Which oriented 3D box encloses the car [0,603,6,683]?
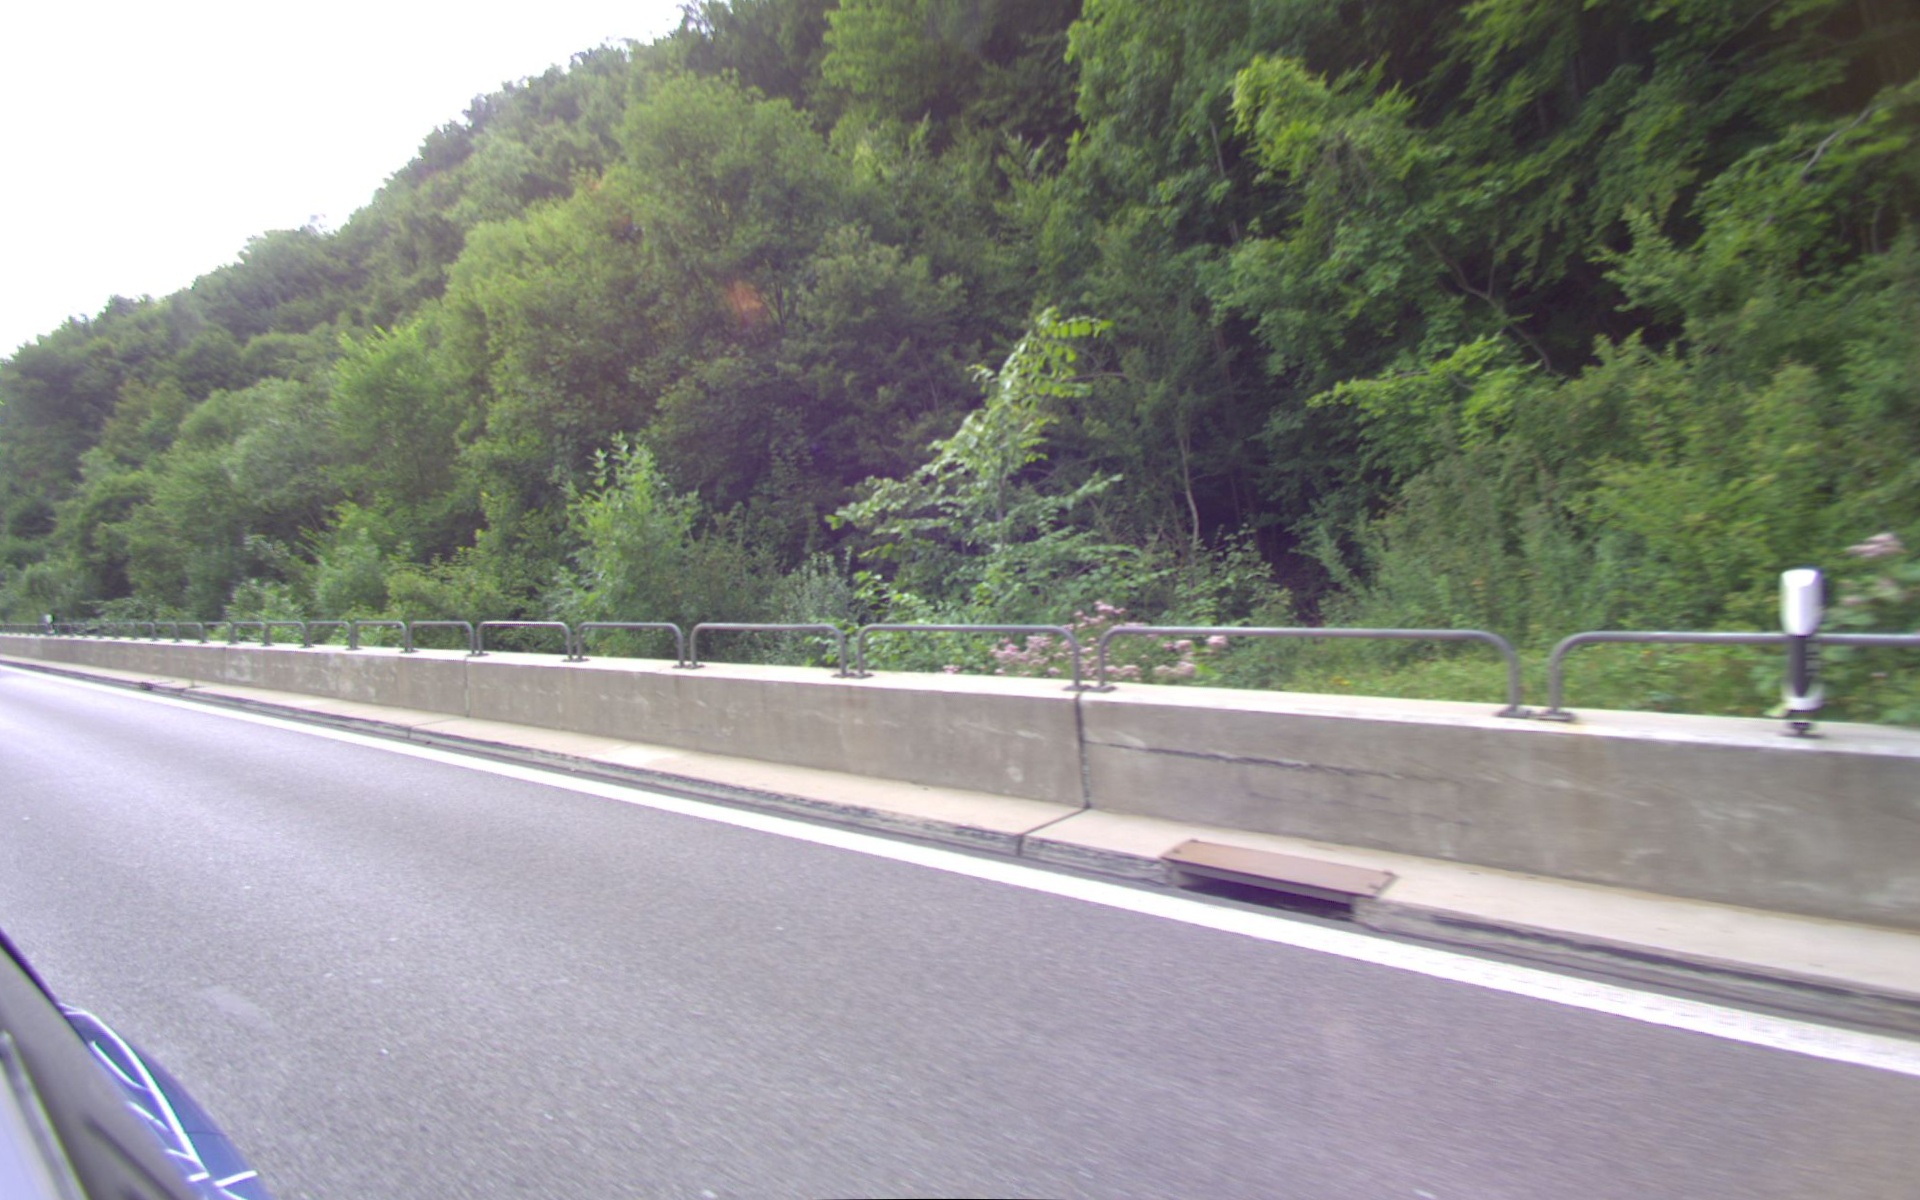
[{"bbox_3d":[-26.883,1.166,26.796,5.540,2.028,1.972,-1,1,43],"label":"car"}]
